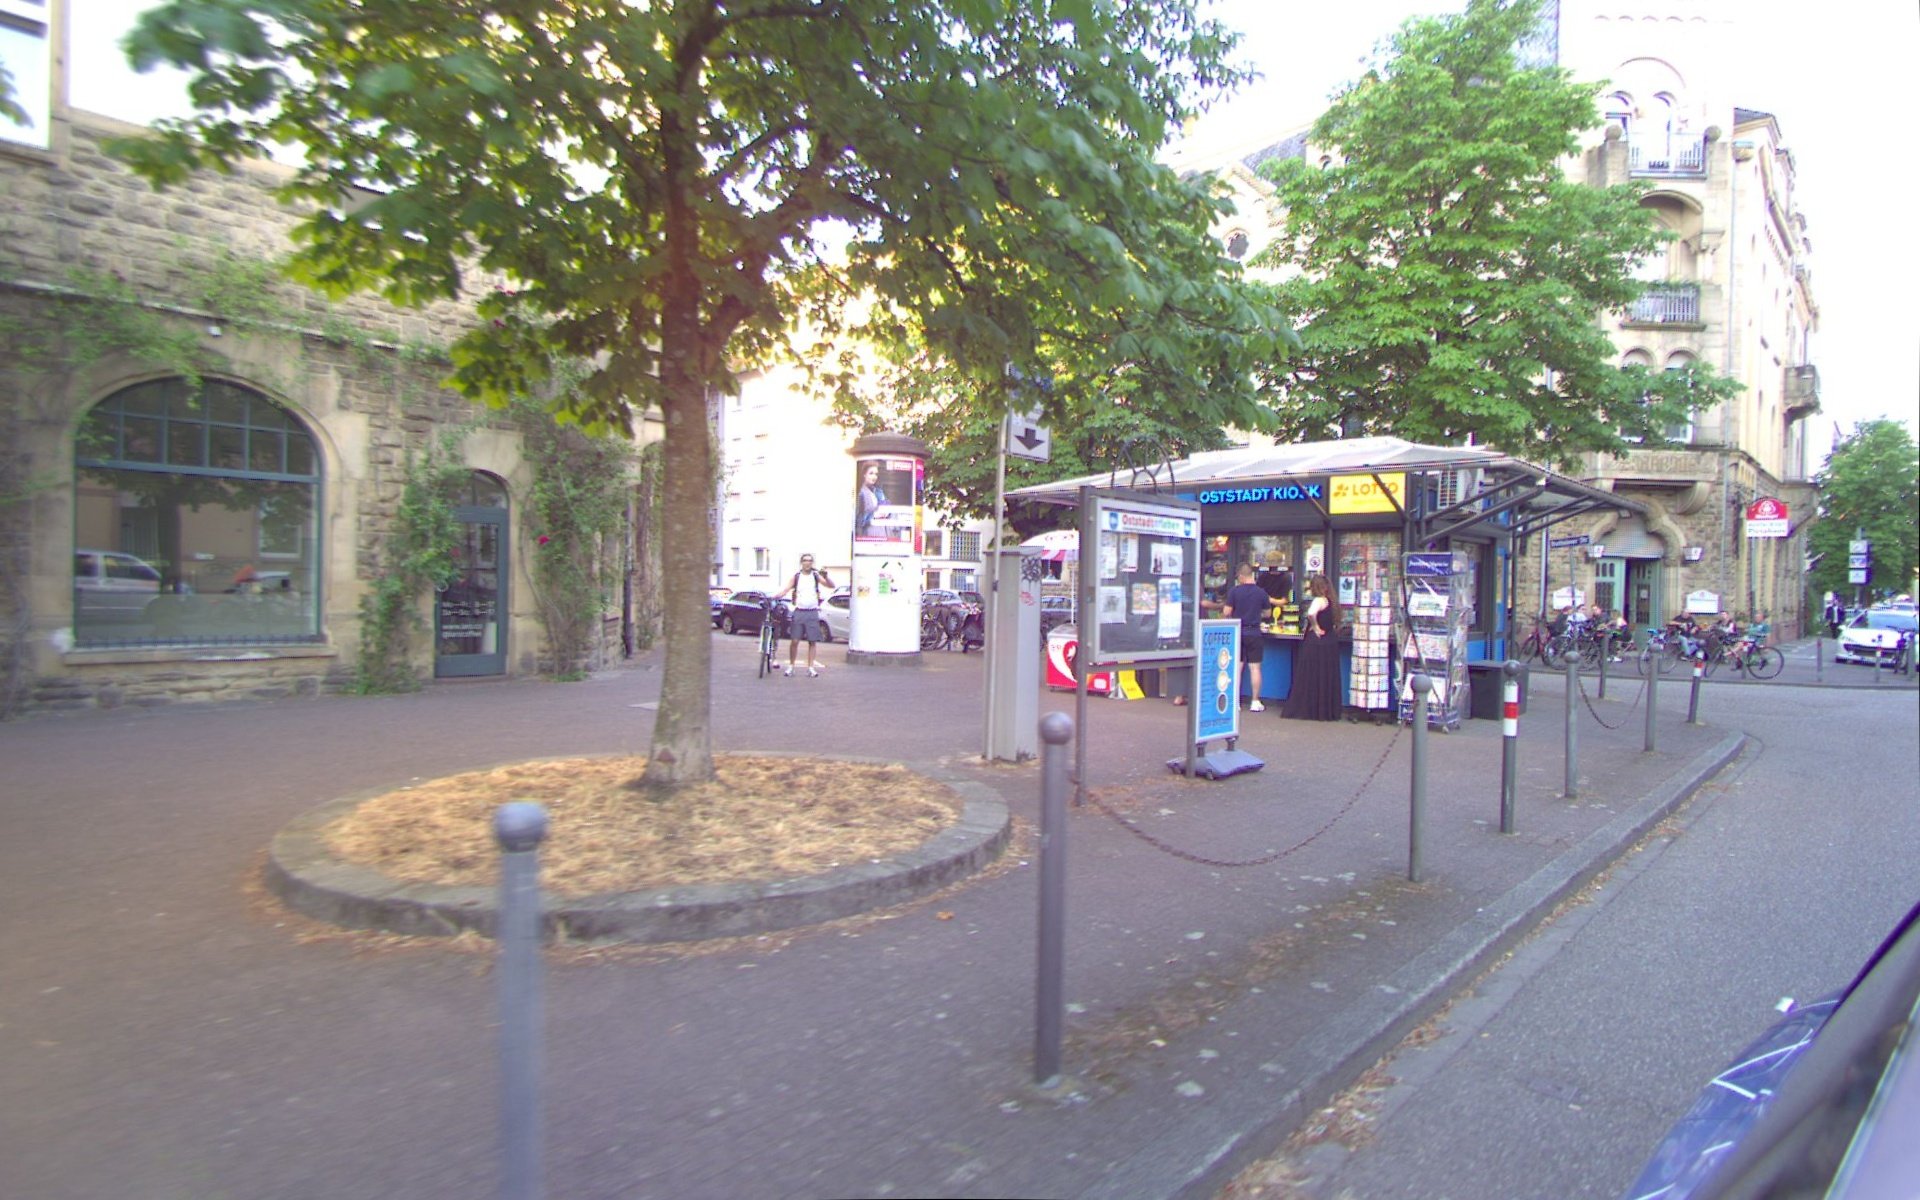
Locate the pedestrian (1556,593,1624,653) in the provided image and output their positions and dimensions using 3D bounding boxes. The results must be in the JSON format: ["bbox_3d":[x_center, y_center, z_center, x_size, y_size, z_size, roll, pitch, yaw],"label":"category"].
[{"bbox_3d":[15.268,0.551,24.542,1.082,1.414,0.842,0,2,-4],"label":"pedestrian"}]

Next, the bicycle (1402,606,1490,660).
[{"bbox_3d":[11.469,0.756,23.902,1.820,1.176,0.533,1,1,32],"label":"bicycle"}]

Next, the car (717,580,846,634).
[{"bbox_3d":[-5.341,0.192,29.982,3.991,1.502,1.797,0,0,45],"label":"car"}]

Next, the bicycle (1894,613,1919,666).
[{"bbox_3d":[22.274,0.905,23.515,2.080,1.165,0.685,1,3,-45],"label":"bicycle"}]

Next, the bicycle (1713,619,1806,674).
[{"bbox_3d":[16.125,0.936,20.425,1.449,1.052,0.432,1,1,4],"label":"bicycle"}]

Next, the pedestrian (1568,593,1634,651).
[{"bbox_3d":[16.089,0.541,25.426,1.082,1.414,0.842,0,2,-5],"label":"pedestrian"}]

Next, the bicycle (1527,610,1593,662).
[{"bbox_3d":[13.384,0.784,22.547,1.799,1.126,0.503,1,0,-33],"label":"bicycle"}]

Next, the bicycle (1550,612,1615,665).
[{"bbox_3d":[13.562,0.821,22.031,1.799,1.084,0.476,1,0,-33],"label":"bicycle"}]

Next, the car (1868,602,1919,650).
[{"bbox_3d":[32.271,0.859,34.555,1.764,1.503,4.485,4,2,43],"label":"car"}]

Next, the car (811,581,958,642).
[{"bbox_3d":[-2.068,0.273,26.980,3.895,1.502,1.797,0,0,45],"label":"car"}]

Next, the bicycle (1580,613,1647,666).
[{"bbox_3d":[14.080,0.837,21.784,1.799,1.080,0.514,1,0,-33],"label":"bicycle"}]

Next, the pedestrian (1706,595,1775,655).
[{"bbox_3d":[19.458,0.621,25.237,1.080,1.414,0.843,2,1,-19],"label":"pedestrian"}]

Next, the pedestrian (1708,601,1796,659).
[{"bbox_3d":[19.139,0.715,24.483,1.393,1.301,0.841,2,2,2],"label":"pedestrian"}]

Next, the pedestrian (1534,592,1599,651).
[{"bbox_3d":[15.152,0.526,25.309,1.082,1.414,0.842,0,2,-4],"label":"pedestrian"}]

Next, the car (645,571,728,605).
[{"bbox_3d":[-12.719,-0.530,46.994,3.888,1.502,1.800,0,0,39],"label":"car"}]

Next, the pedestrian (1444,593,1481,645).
[{"bbox_3d":[13.284,0.489,26.768,0.729,1.337,0.657,1,0,41],"label":"pedestrian"}]

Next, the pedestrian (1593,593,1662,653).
[{"bbox_3d":[16.220,0.546,24.615,1.082,1.414,0.842,0,2,-5],"label":"pedestrian"}]

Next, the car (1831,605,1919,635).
[{"bbox_3d":[52.352,1.106,57.435,4.291,1.548,1.794,2,1,44],"label":"car"}]

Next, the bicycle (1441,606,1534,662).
[{"bbox_3d":[11.937,0.754,22.929,1.820,1.166,0.552,1,1,31],"label":"bicycle"}]

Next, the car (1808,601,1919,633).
[{"bbox_3d":[46.171,0.858,51.659,4.291,1.470,1.794,2,1,44],"label":"car"}]

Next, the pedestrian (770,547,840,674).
[{"bbox_3d":[-2.280,0.140,14.993,0.960,1.811,1.007,1,1,-6],"label":"pedestrian"}]

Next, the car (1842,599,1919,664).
[{"bbox_3d":[24.882,0.810,26.754,4.386,1.502,1.767,1,3,-42],"label":"car"}]

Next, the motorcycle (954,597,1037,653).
[{"bbox_3d":[0.718,0.498,21.061,0.570,1.067,1.828,0,1,-44],"label":"motorcycle"}]

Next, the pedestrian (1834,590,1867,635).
[{"bbox_3d":[36.262,0.508,41.198,0.819,1.788,0.851,1,2,-42],"label":"pedestrian"}]

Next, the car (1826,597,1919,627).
[{"bbox_3d":[55.598,0.689,61.625,4.291,1.697,1.794,2,1,44],"label":"car"}]

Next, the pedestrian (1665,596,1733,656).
[{"bbox_3d":[18.326,0.623,25.132,0.880,1.414,1.011,3,0,2],"label":"pedestrian"}]

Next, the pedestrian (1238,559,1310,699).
[{"bbox_3d":[3.879,0.337,12.489,0.674,1.657,0.583,1,1,37],"label":"pedestrian"}]

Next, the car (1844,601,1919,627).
[{"bbox_3d":[59.528,0.890,64.827,4.291,1.548,1.794,2,1,44],"label":"car"}]

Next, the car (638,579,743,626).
[{"bbox_3d":[-9.041,0.079,33.811,1.796,1.502,3.898,0,0,-43],"label":"car"}]

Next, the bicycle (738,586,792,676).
[{"bbox_3d":[-2.852,0.414,14.935,0.623,1.202,1.917,1,2,-7],"label":"bicycle"}]

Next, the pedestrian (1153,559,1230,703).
[{"bbox_3d":[2.756,0.346,12.043,0.676,1.657,0.581,2,1,43],"label":"pedestrian"}]

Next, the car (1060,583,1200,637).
[{"bbox_3d":[5.043,0.280,30.375,1.795,1.502,3.898,0,0,-43],"label":"car"}]

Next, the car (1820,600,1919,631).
[{"bbox_3d":[50.467,0.821,55.990,4.291,1.548,1.794,2,1,44],"label":"car"}]

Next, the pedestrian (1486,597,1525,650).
[{"bbox_3d":[13.935,0.582,25.858,0.703,1.298,0.865,1,1,40],"label":"pedestrian"}]

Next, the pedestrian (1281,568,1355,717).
[{"bbox_3d":[3.867,0.440,10.981,0.668,1.558,0.588,1,1,14],"label":"pedestrian"}]

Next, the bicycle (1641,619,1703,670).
[{"bbox_3d":[14.753,0.901,20.956,1.672,0.992,0.448,1,0,-33],"label":"bicycle"}]

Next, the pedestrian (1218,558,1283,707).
[{"bbox_3d":[3.336,0.358,11.662,0.668,1.657,0.588,1,1,14],"label":"pedestrian"}]

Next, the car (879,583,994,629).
[{"bbox_3d":[-0.853,0.203,35.353,3.892,1.502,1.798,0,0,42],"label":"car"}]
